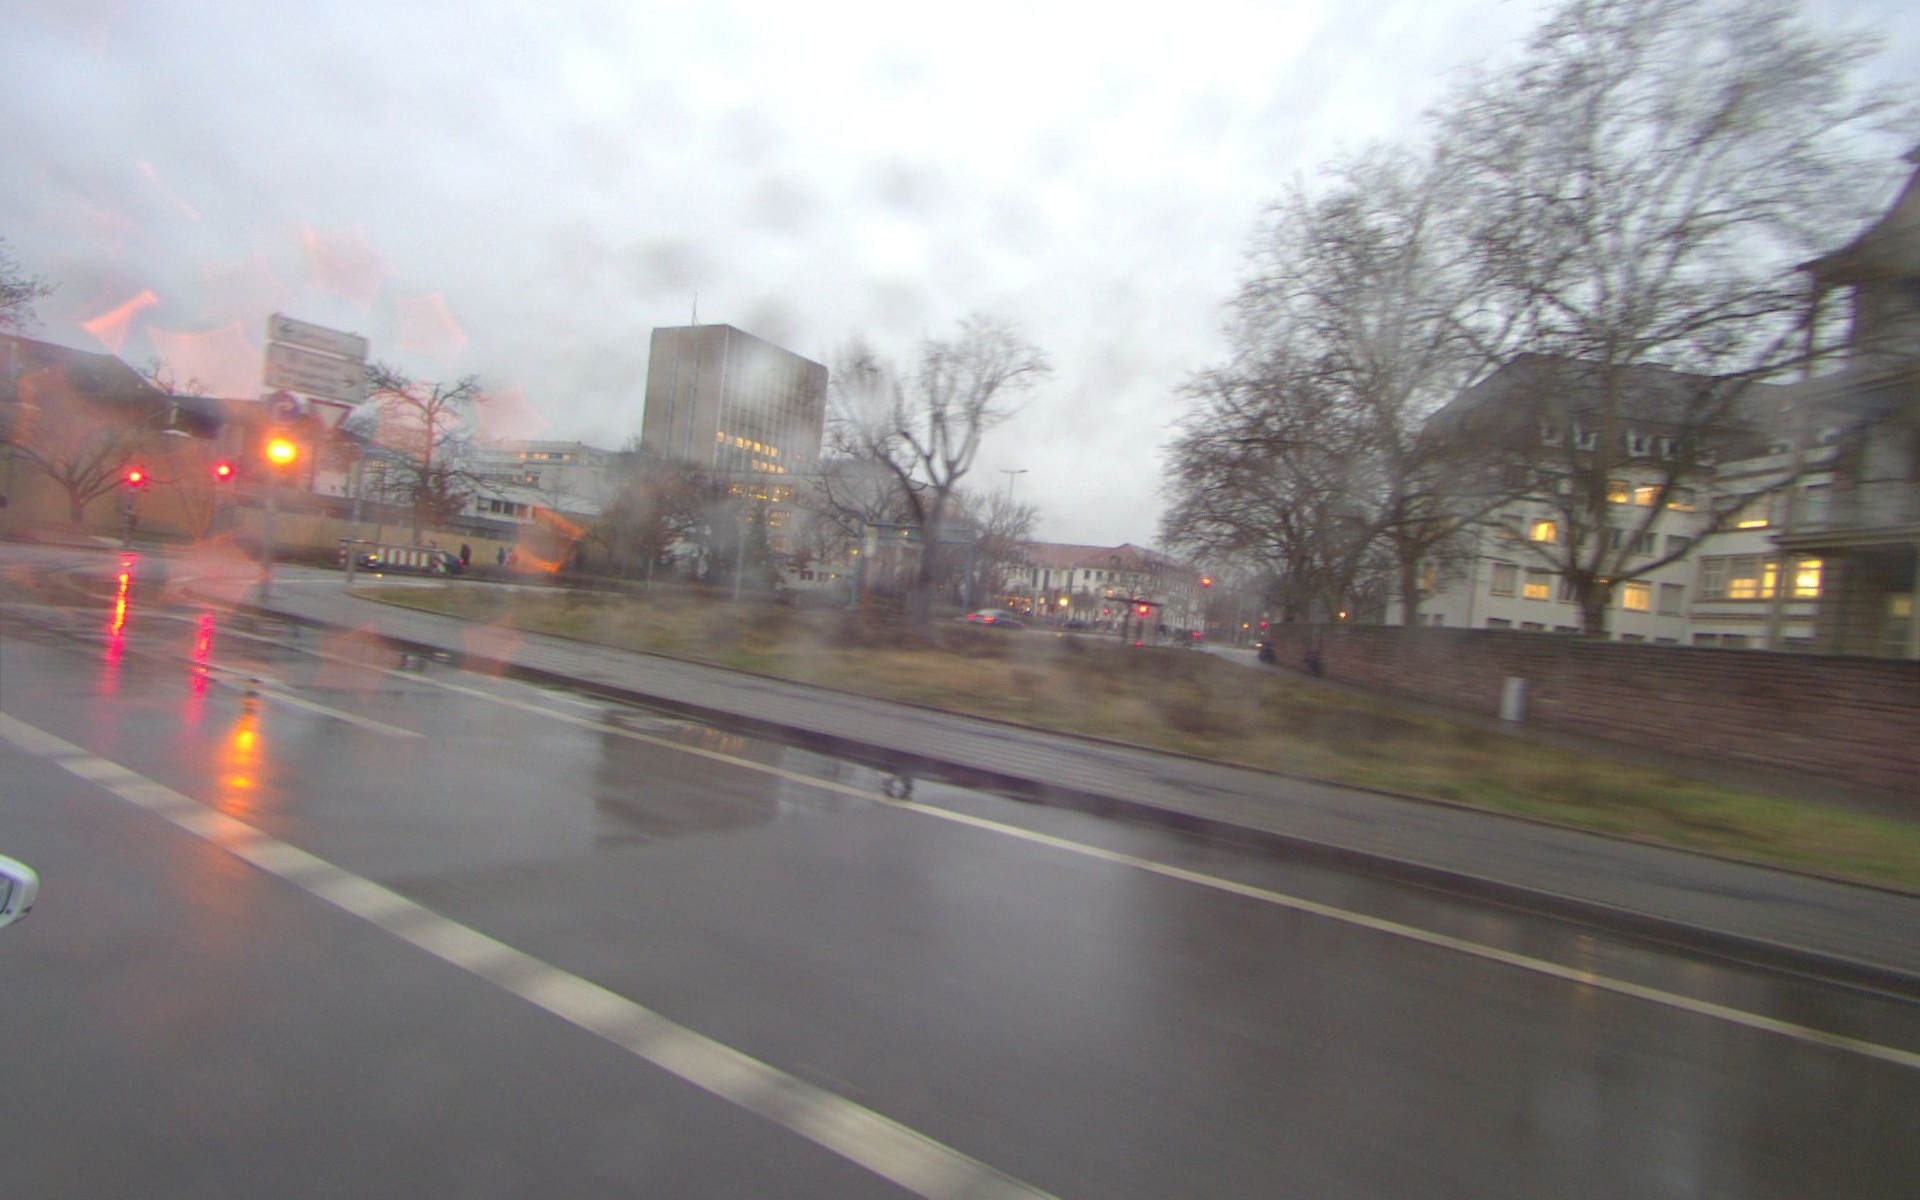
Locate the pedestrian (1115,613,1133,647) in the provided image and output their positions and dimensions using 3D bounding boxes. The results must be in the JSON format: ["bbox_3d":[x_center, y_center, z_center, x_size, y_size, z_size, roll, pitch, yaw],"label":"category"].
[{"bbox_3d":[9.231,1.699,56.674,0.633,1.857,0.836,5,-1,23],"label":"pedestrian"}]

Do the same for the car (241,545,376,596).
[{"bbox_3d":[-27.862,-1.241,43.108,1.943,1.598,4.424,4,-3,44],"label":"car"}]

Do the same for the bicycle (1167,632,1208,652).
[{"bbox_3d":[14.262,2.631,63.141,2.373,1.003,0.537,5,-2,31],"label":"bicycle"}]

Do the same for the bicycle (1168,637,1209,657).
[{"bbox_3d":[14.190,2.933,62.449,2.373,1.003,0.479,5,-2,31],"label":"bicycle"}]

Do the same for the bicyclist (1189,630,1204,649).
[{"bbox_3d":[14.746,2.451,62.744,0.690,1.092,0.494,5,-2,32],"label":"bicyclist"}]

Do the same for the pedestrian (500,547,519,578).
[{"bbox_3d":[-27.126,-2.258,60.618,0.749,1.745,0.623,5,-2,38],"label":"pedestrian"}]

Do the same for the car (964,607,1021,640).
[{"bbox_3d":[2.076,1.482,63.648,1.861,1.670,3.636,4,-3,35],"label":"car"}]

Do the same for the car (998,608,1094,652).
[{"bbox_3d":[2.669,0.931,30.960,2.656,0.989,1.290,7,1,-34],"label":"car"}]

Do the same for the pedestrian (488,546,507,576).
[{"bbox_3d":[-28.151,-2.369,61.278,0.749,1.745,0.623,5,-2,38],"label":"pedestrian"}]

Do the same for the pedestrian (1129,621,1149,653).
[{"bbox_3d":[11.006,2.254,61.931,0.823,1.857,0.667,5,-2,34],"label":"pedestrian"}]

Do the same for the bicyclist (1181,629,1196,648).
[{"bbox_3d":[14.171,2.377,62.508,0.690,1.092,0.494,5,-2,32],"label":"bicyclist"}]
